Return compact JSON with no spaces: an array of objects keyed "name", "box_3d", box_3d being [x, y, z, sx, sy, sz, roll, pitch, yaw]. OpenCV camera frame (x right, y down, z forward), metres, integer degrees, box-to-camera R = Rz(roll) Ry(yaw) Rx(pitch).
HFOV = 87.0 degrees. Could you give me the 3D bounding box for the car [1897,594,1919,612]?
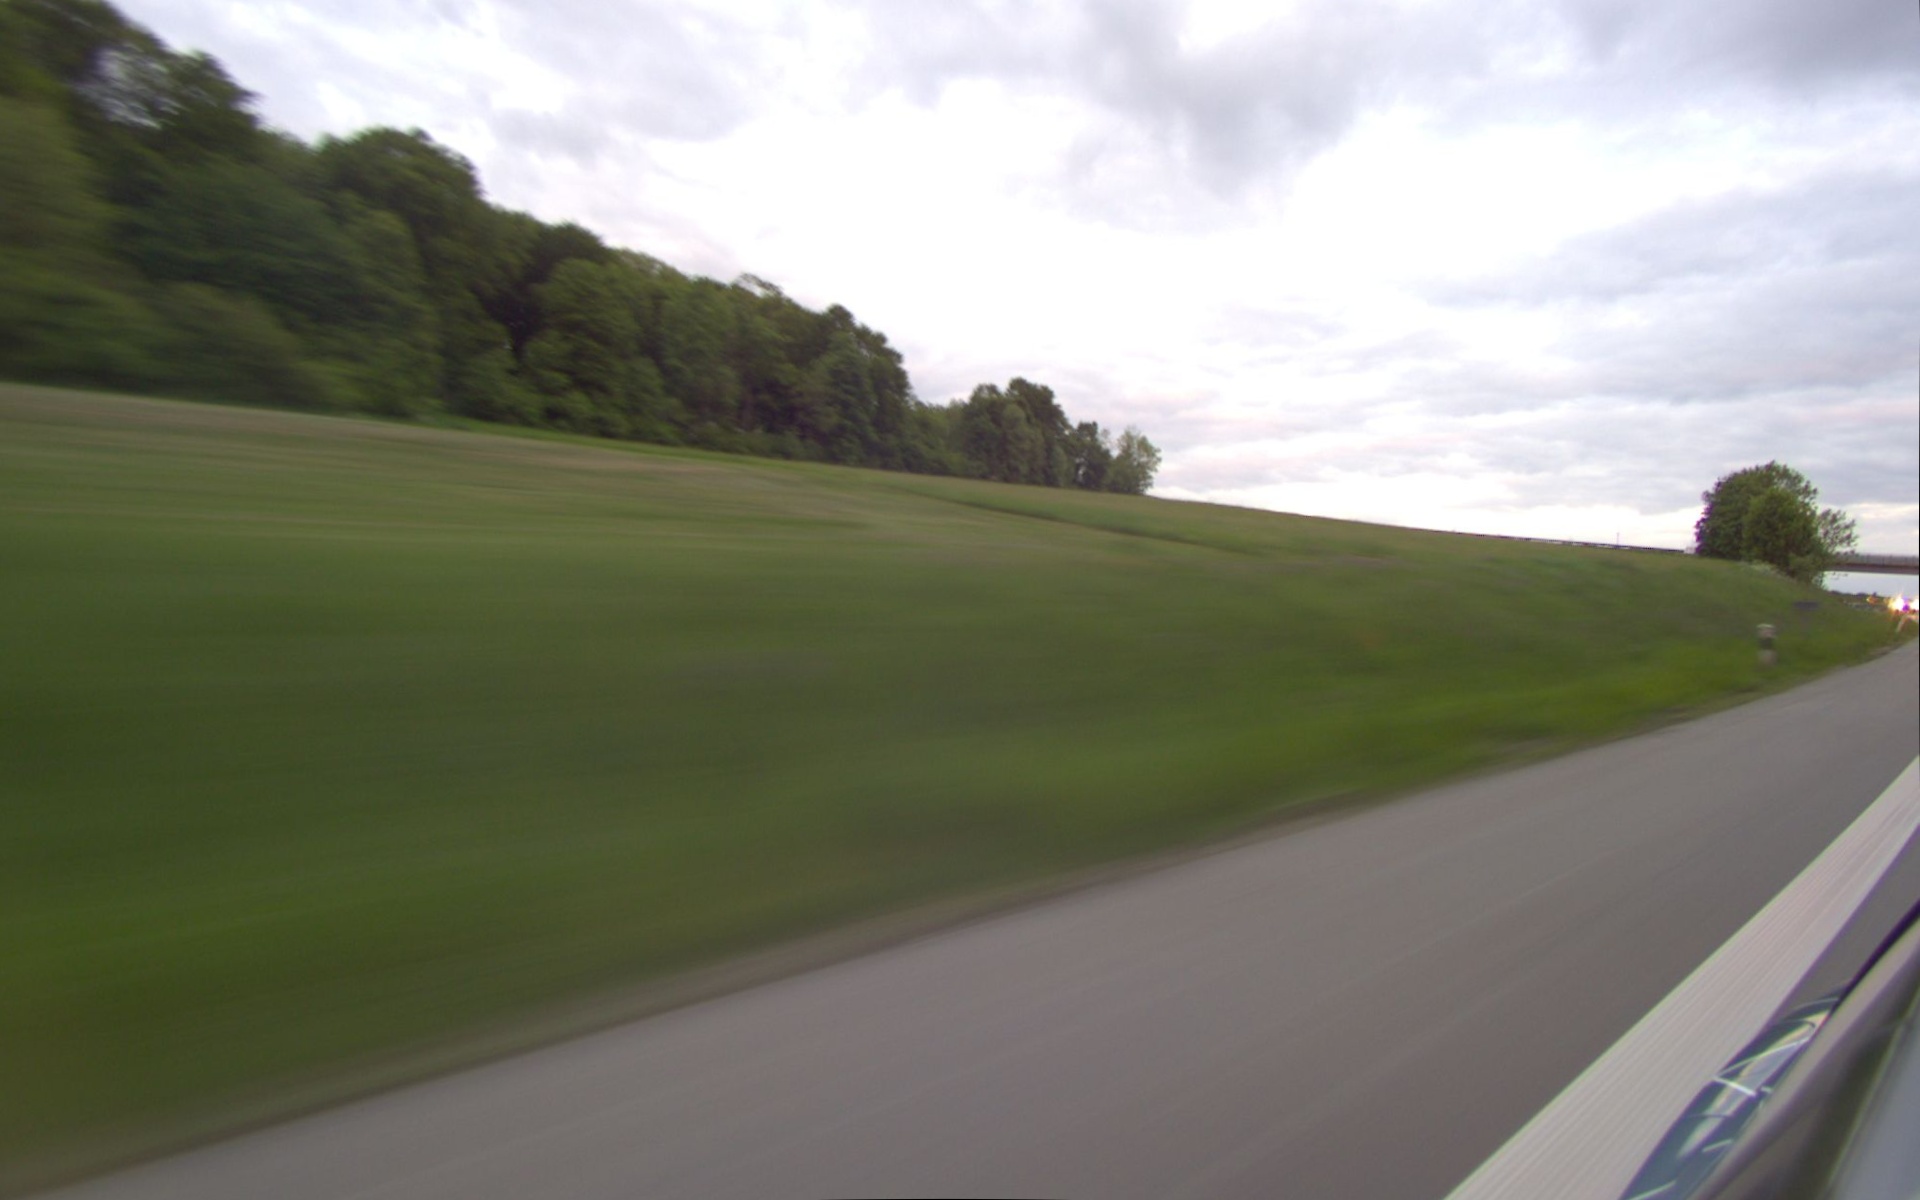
[{"name":"car","box_3d":[109.495,0.359,116.562,1.912,1.860,3.942,4,1,39]}]
